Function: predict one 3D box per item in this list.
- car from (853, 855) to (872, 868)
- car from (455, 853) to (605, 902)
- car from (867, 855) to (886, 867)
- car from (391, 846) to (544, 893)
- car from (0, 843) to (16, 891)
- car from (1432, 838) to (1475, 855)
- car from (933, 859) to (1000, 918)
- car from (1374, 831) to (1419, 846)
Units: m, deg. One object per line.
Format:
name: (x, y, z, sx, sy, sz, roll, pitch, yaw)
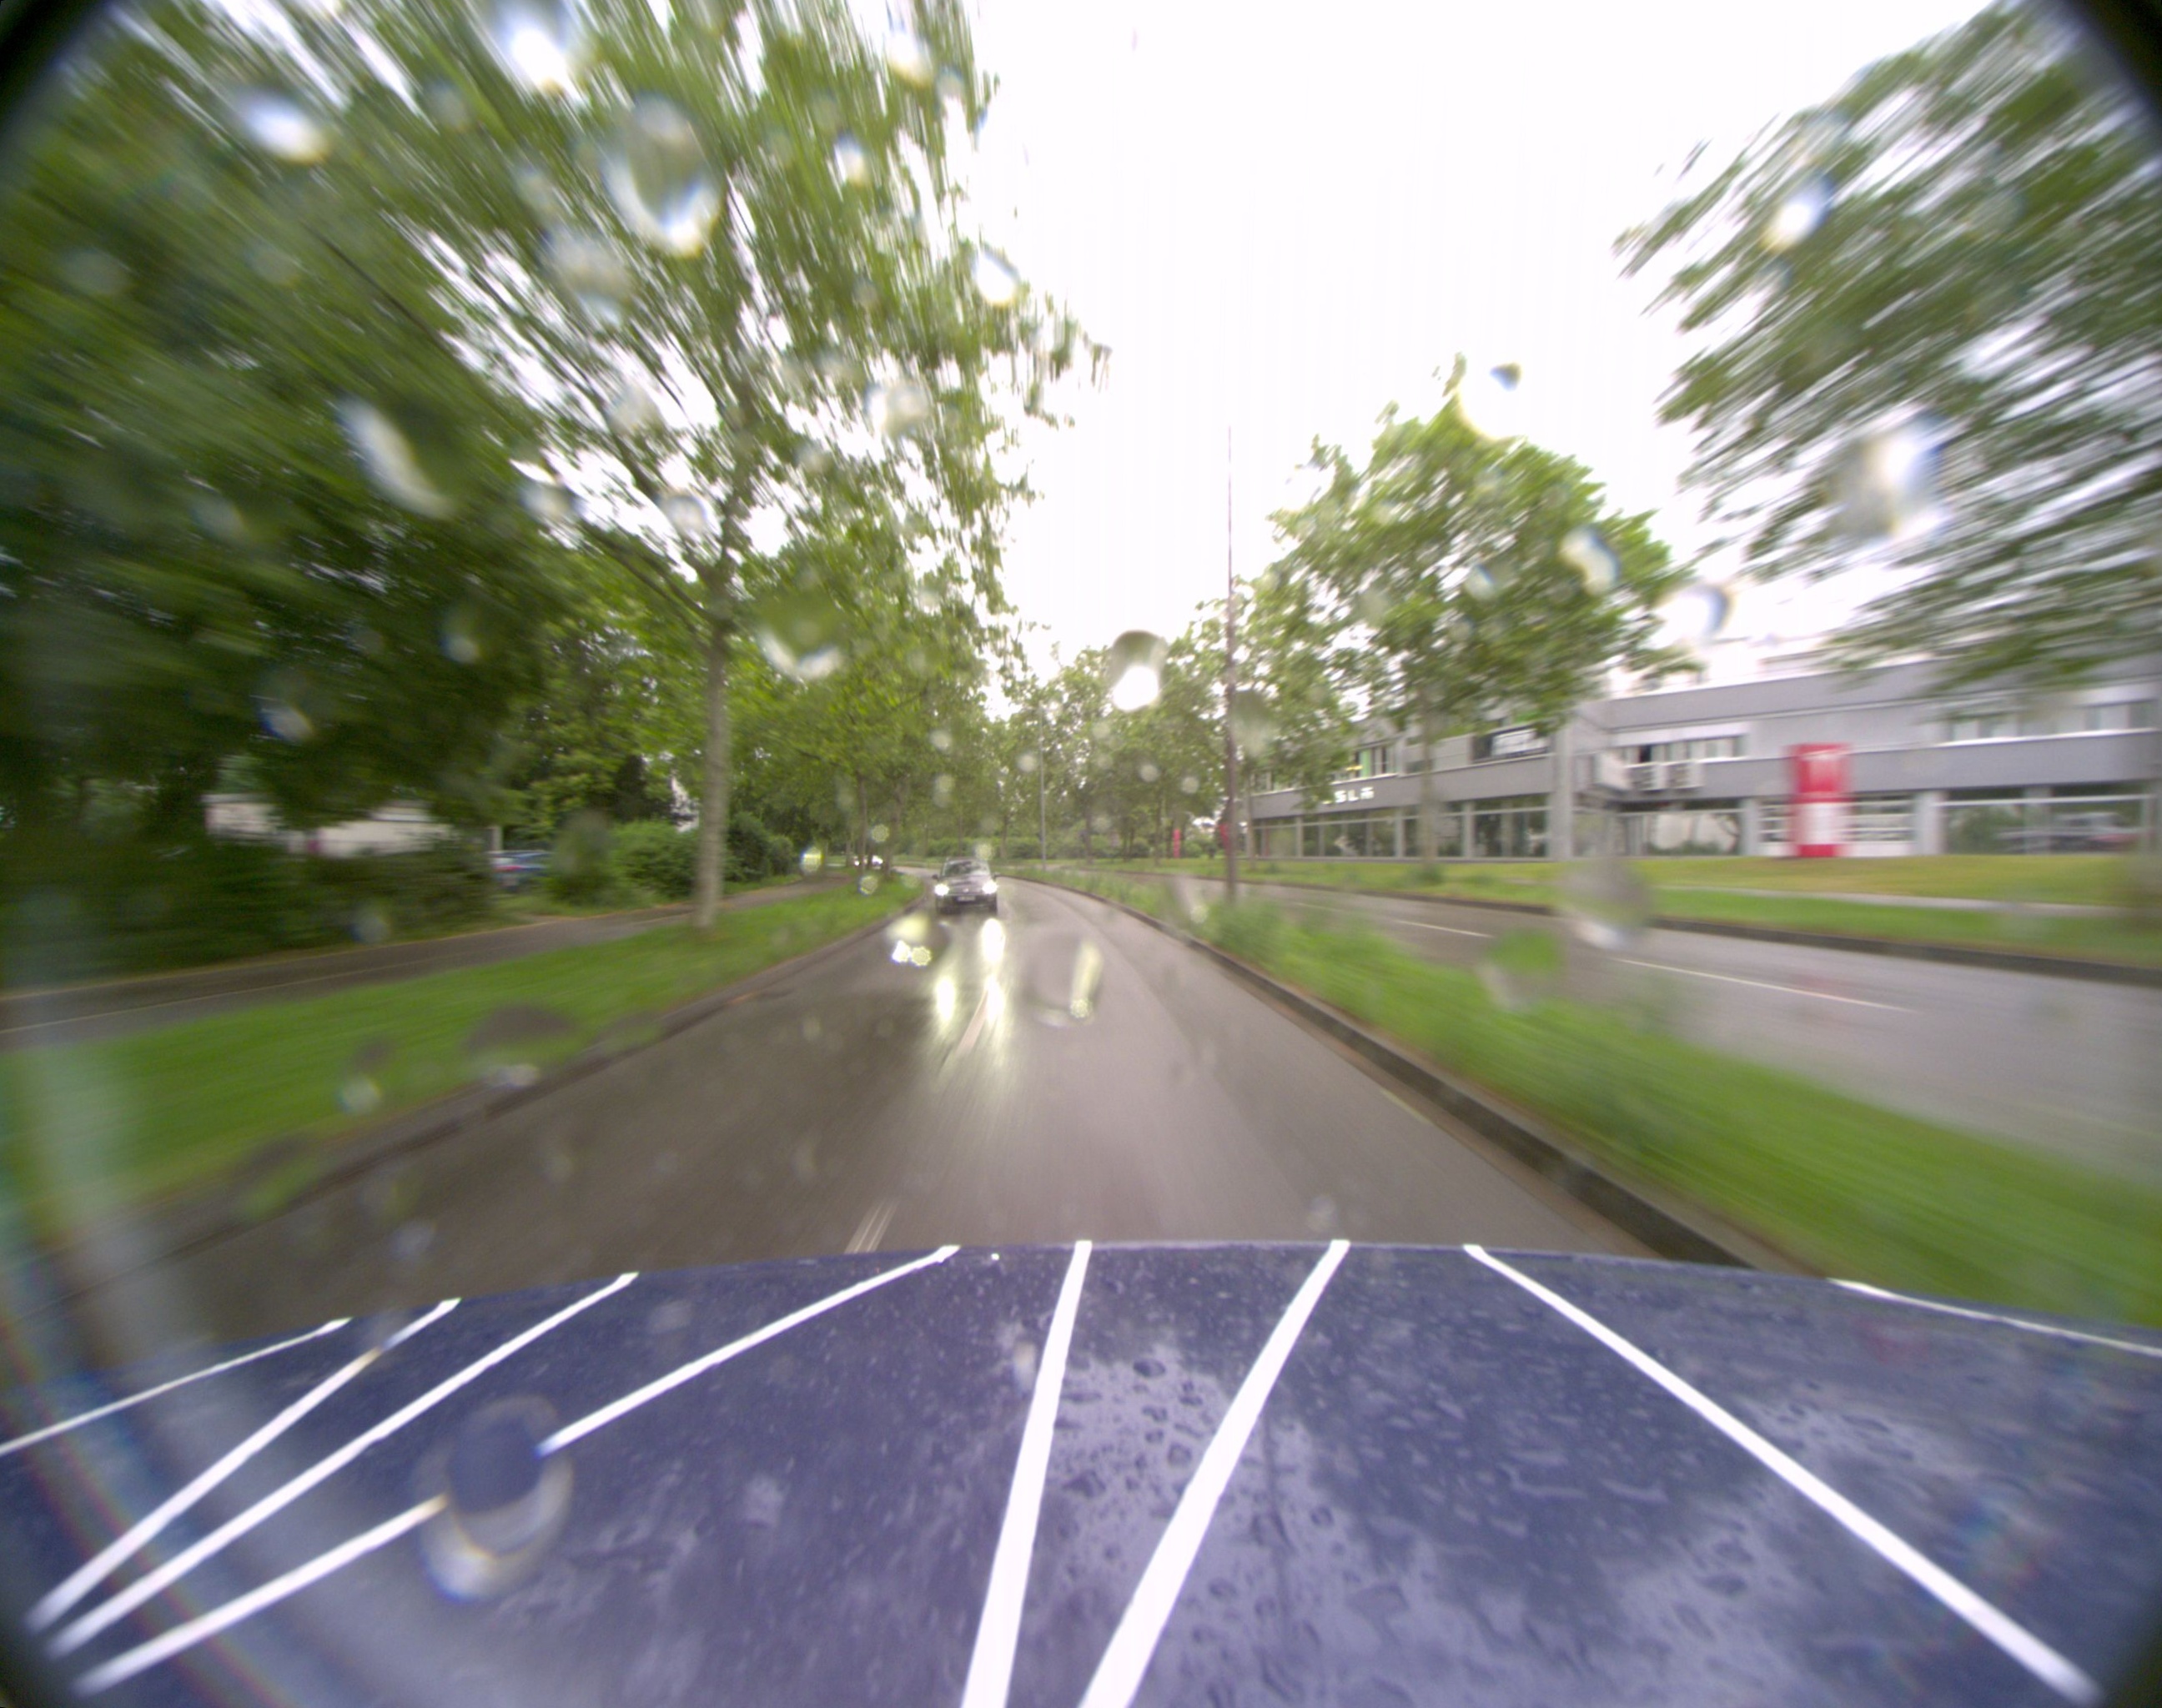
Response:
car: (-27.955, 0.917, 96.997, 1.787, 1.546, 3.992, -1, 0, -24)
car: (-17.347, 0.704, 24.144, 1.595, 1.350, 3.710, -2, 1, 12)
car: (-27.544, 0.908, 102.330, 1.787, 1.546, 3.992, -1, 0, -25)
car: (-20.075, 0.464, 25.080, 1.595, 1.412, 3.710, -2, 1, 12)
car: (-30.945, 0.395, 19.675, 1.597, 1.350, 3.705, -2, 0, -4)
car: (43.314, -0.860, 88.470, 4.198, 1.803, 1.819, -1, 1, 11)
car: (-3.434, 0.977, 23.423, 1.785, 1.546, 3.997, -2, 1, -6)
car: (41.921, -2.061, 100.951, 1.797, 1.853, 5.216, -2, 1, -44)
